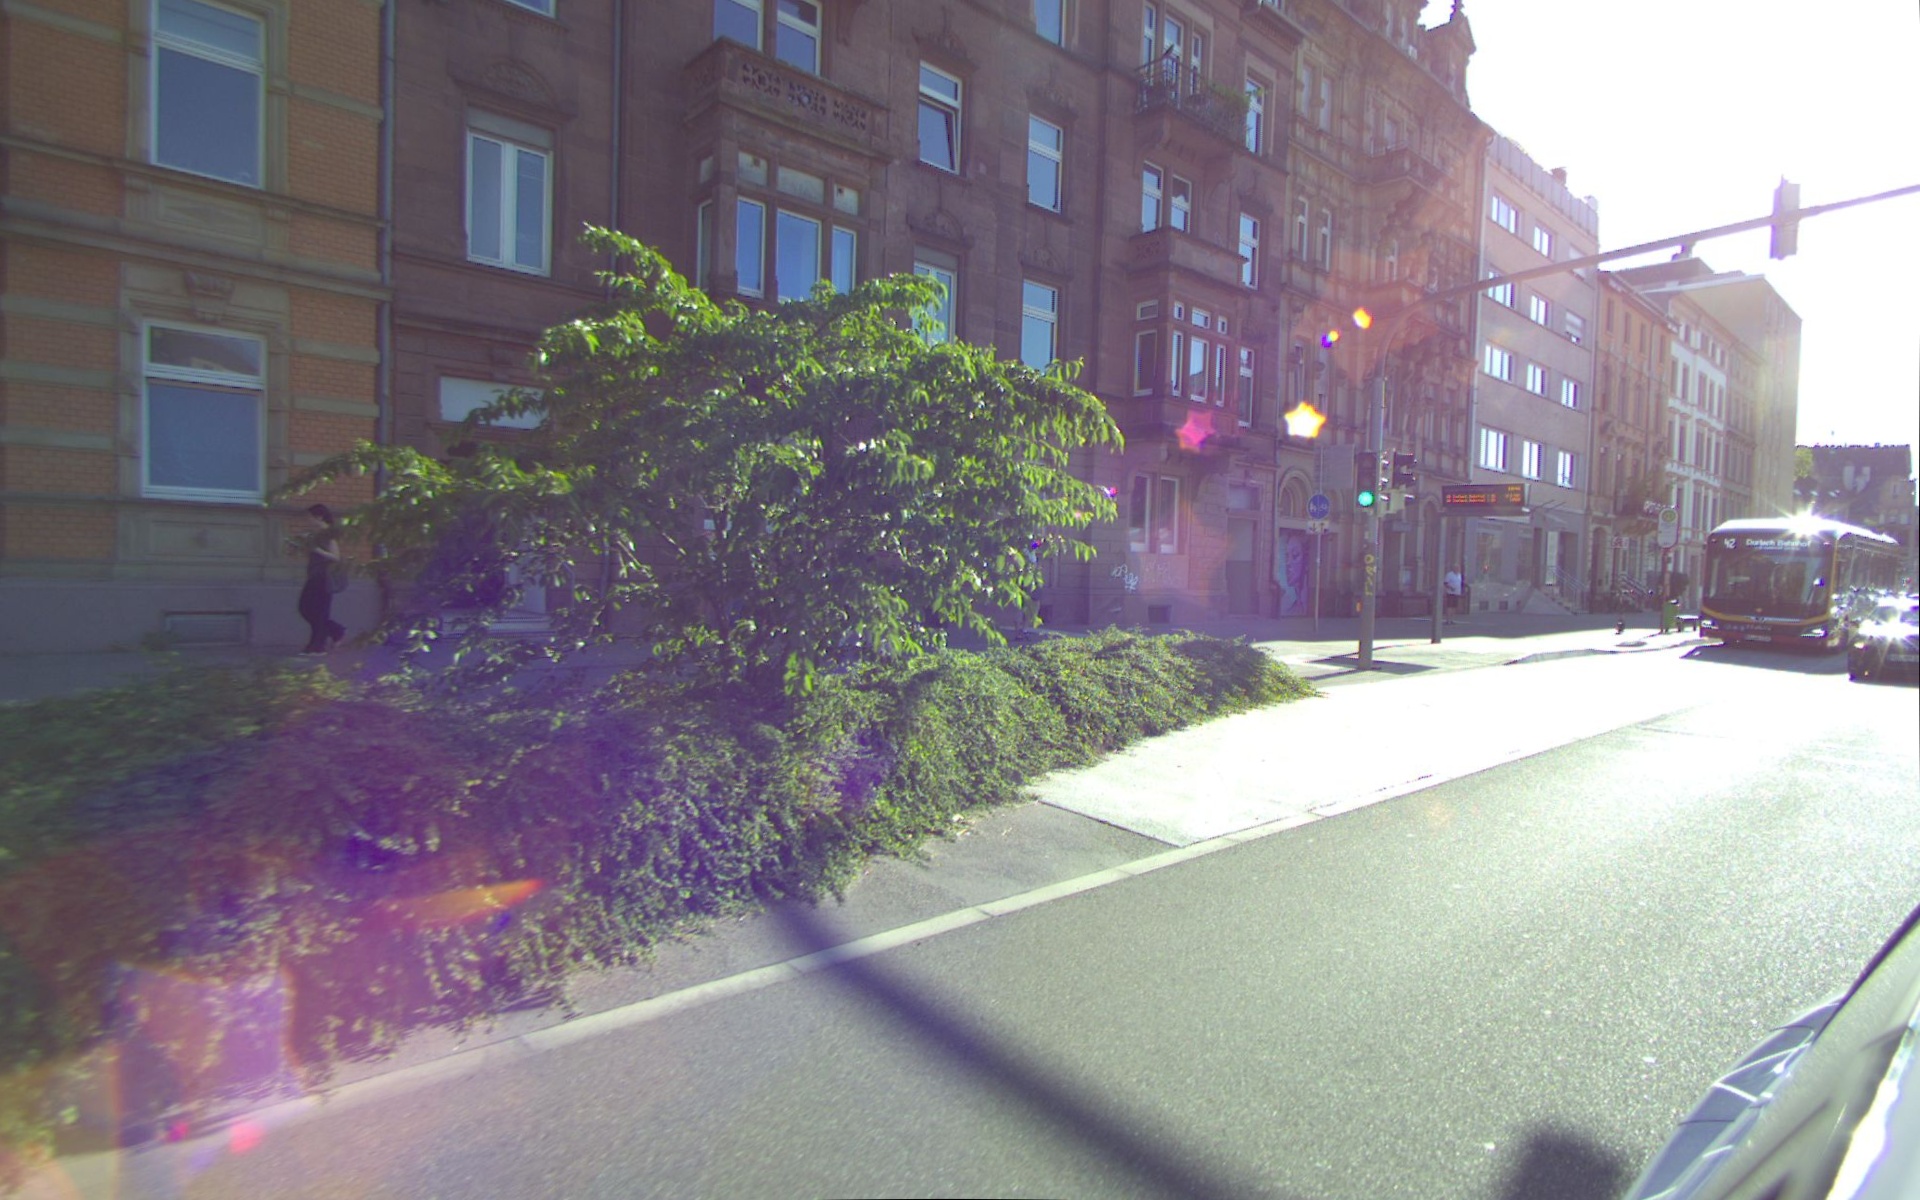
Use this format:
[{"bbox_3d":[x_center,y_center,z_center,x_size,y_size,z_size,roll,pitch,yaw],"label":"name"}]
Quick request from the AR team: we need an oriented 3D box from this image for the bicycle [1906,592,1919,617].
[{"bbox_3d":[45.114,0.216,47.482,0.465,1.161,1.755,2,1,25],"label":"bicycle"}]

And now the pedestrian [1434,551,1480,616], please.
[{"bbox_3d":[14.663,-0.492,29.851,0.765,1.856,0.854,4,1,-39],"label":"pedestrian"}]

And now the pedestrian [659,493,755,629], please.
[{"bbox_3d":[-3.816,-0.579,15.251,1.117,1.953,0.823,0,3,-42],"label":"pedestrian"}]

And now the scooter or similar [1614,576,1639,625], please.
[{"bbox_3d":[18.373,-0.009,27.893,0.430,1.264,1.278,5,5,36],"label":"scooter or similar"}]

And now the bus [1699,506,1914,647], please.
[{"bbox_3d":[23.864,-0.648,28.143,12.325,3.219,2.720,0,4,-42],"label":"bus"}]

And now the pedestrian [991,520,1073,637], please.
[{"bbox_3d":[1.252,-0.385,17.641,1.117,1.953,0.823,0,3,-42],"label":"pedestrian"}]

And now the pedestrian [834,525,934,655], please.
[{"bbox_3d":[-1.028,-0.152,13.699,1.117,1.676,0.704,0,3,-42],"label":"pedestrian"}]

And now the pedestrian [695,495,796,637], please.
[{"bbox_3d":[-3.078,-0.489,14.530,1.117,1.953,0.823,0,3,-42],"label":"pedestrian"}]

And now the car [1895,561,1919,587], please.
[{"bbox_3d":[63.326,-1.639,65.178,4.176,1.590,1.958,1,1,5],"label":"car"}]

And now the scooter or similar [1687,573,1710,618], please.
[{"bbox_3d":[22.228,-0.151,30.461,0.430,1.264,1.277,5,5,38],"label":"scooter or similar"}]

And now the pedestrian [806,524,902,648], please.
[{"bbox_3d":[-1.489,-0.207,14.274,1.117,1.676,0.704,0,3,-42],"label":"pedestrian"}]

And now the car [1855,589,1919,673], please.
[{"bbox_3d":[17.806,0.523,18.379,3.762,1.405,1.694,0,1,-39],"label":"car"}]

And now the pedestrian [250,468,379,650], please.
[{"bbox_3d":[-7.369,-0.459,11.558,1.117,1.953,0.823,0,3,-42],"label":"pedestrian"}]
